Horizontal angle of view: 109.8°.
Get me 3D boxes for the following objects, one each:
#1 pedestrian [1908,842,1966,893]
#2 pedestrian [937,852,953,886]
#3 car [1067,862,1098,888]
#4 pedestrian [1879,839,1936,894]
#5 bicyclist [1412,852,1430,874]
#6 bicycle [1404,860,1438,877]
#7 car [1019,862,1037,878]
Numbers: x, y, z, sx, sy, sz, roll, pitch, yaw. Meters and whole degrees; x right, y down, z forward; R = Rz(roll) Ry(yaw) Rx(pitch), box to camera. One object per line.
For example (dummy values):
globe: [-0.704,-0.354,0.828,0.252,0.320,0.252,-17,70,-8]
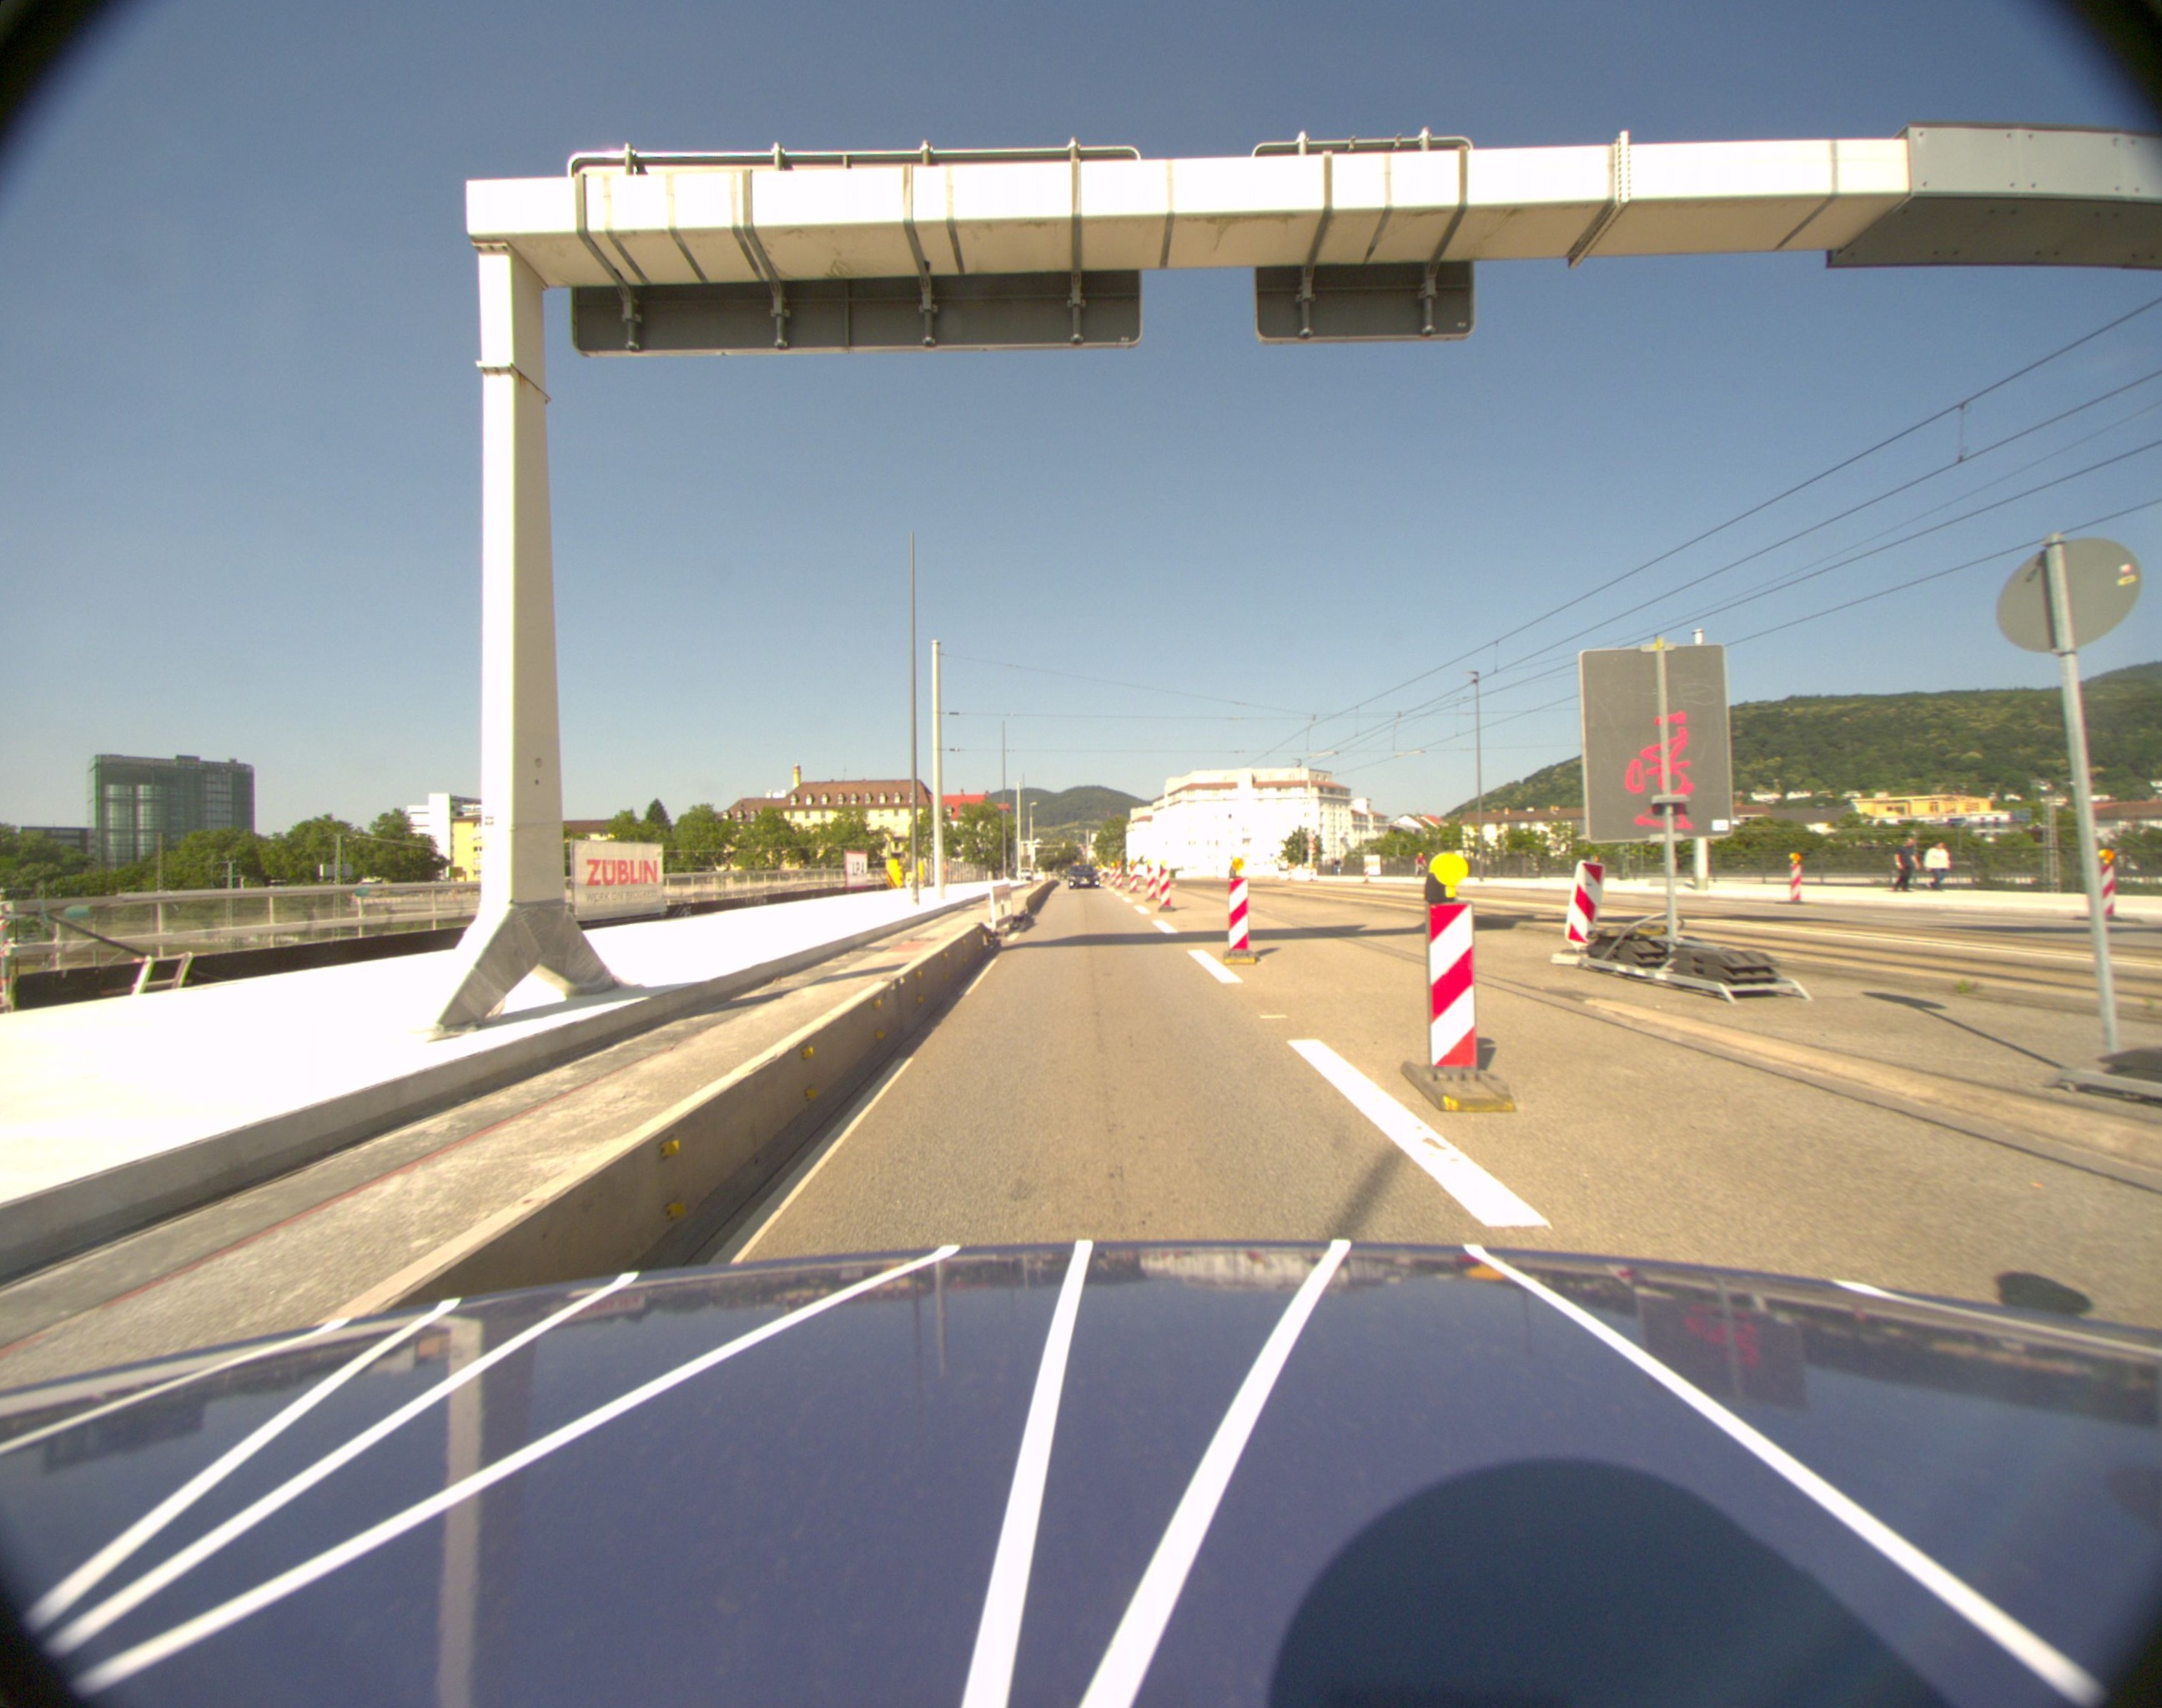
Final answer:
pedestrian: [26.779,0.417,23.777,0.721,1.535,0.889,-3,0,-1]
pedestrian: [-7.936,0.855,44.402,0.733,1.953,1.016,0,0,-1]
car: [0.099,1.190,44.881,1.698,1.388,4.363,-3,0,0]
pedestrian: [25.974,0.394,23.891,0.745,1.632,0.895,-3,0,-1]
bicyclist: [24.054,0.607,53.748,0.858,1.510,0.817,-2,0,-2]
bicycle: [24.060,1.022,53.846,0.858,1.187,3.072,-2,-1,-2]
car: [-7.108,2.155,102.417,1.938,2.077,6.472,-1,-2,1]
